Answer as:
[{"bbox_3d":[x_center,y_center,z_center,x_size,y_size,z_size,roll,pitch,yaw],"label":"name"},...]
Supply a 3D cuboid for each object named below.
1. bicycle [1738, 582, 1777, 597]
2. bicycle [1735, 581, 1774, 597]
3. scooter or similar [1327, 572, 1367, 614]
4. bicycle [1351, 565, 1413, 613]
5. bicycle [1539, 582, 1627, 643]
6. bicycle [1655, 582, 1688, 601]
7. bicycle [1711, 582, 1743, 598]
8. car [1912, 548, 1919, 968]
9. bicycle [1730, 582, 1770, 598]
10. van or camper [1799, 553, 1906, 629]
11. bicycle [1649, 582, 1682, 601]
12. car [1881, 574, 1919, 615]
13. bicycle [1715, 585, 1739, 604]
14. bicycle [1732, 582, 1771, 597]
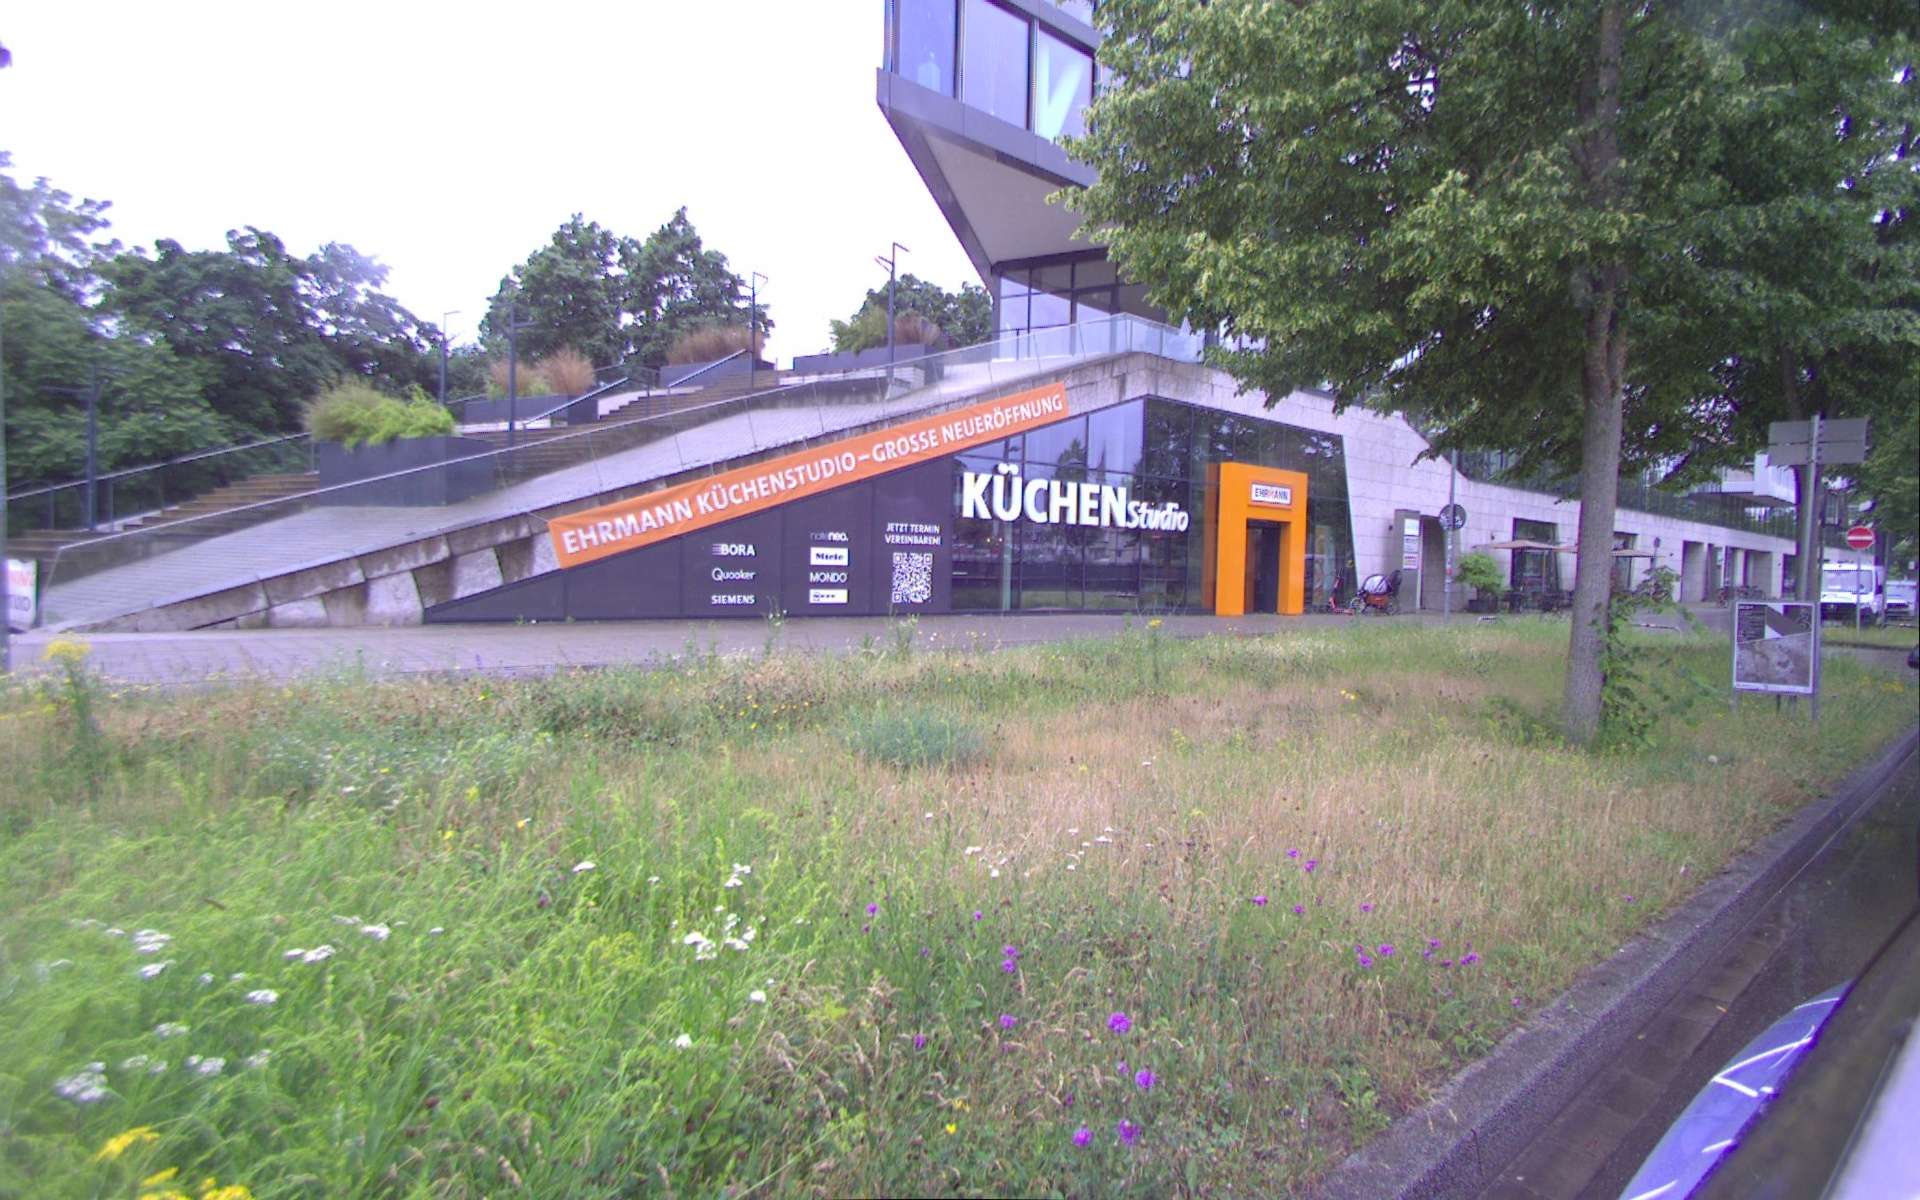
[{"bbox_3d":[54.781,-0.746,69.557,0.389,0.957,2.025,-1,4,-45],"label":"bicycle"},{"bbox_3d":[53.921,-0.734,68.677,0.389,0.957,2.025,-1,4,-45],"label":"bicycle"},{"bbox_3d":[11.739,-0.228,30.691,1.214,1.243,0.343,-1,0,-22],"label":"scooter or similar"},{"bbox_3d":[13.226,-0.337,31.717,2.382,1.419,0.734,0,3,-41],"label":"bicycle"},{"bbox_3d":[14.583,0.275,23.747,0.521,1.363,1.852,2,1,-16],"label":"bicycle"},{"bbox_3d":[37.243,-0.463,53.003,0.388,0.958,2.028,-1,1,4],"label":"bicycle"},{"bbox_3d":[49.447,-0.671,65.250,0.339,0.957,1.665,0,3,-22],"label":"bicycle"},{"bbox_3d":[5.783,0.578,4.533,3.930,1.632,1.814,-1,1,-41],"label":"car"},{"bbox_3d":[52.659,-0.700,67.454,0.389,0.957,2.025,-1,4,-45],"label":"bicycle"},{"bbox_3d":[29.589,-0.363,33.494,5.367,2.320,2.028,-1,2,-42],"label":"van or camper"},{"bbox_3d":[36.613,-0.449,52.544,0.388,0.958,2.028,-1,1,4],"label":"bicycle"},{"bbox_3d":[43.367,-0.282,46.012,4.766,1.781,1.744,-1,2,-42],"label":"car"},{"bbox_3d":[39.658,-0.276,52.324,1.823,0.957,0.403,-1,2,-34],"label":"bicycle"},{"bbox_3d":[53.110,-0.708,67.901,0.389,0.957,2.025,-1,4,-45],"label":"bicycle"}]
